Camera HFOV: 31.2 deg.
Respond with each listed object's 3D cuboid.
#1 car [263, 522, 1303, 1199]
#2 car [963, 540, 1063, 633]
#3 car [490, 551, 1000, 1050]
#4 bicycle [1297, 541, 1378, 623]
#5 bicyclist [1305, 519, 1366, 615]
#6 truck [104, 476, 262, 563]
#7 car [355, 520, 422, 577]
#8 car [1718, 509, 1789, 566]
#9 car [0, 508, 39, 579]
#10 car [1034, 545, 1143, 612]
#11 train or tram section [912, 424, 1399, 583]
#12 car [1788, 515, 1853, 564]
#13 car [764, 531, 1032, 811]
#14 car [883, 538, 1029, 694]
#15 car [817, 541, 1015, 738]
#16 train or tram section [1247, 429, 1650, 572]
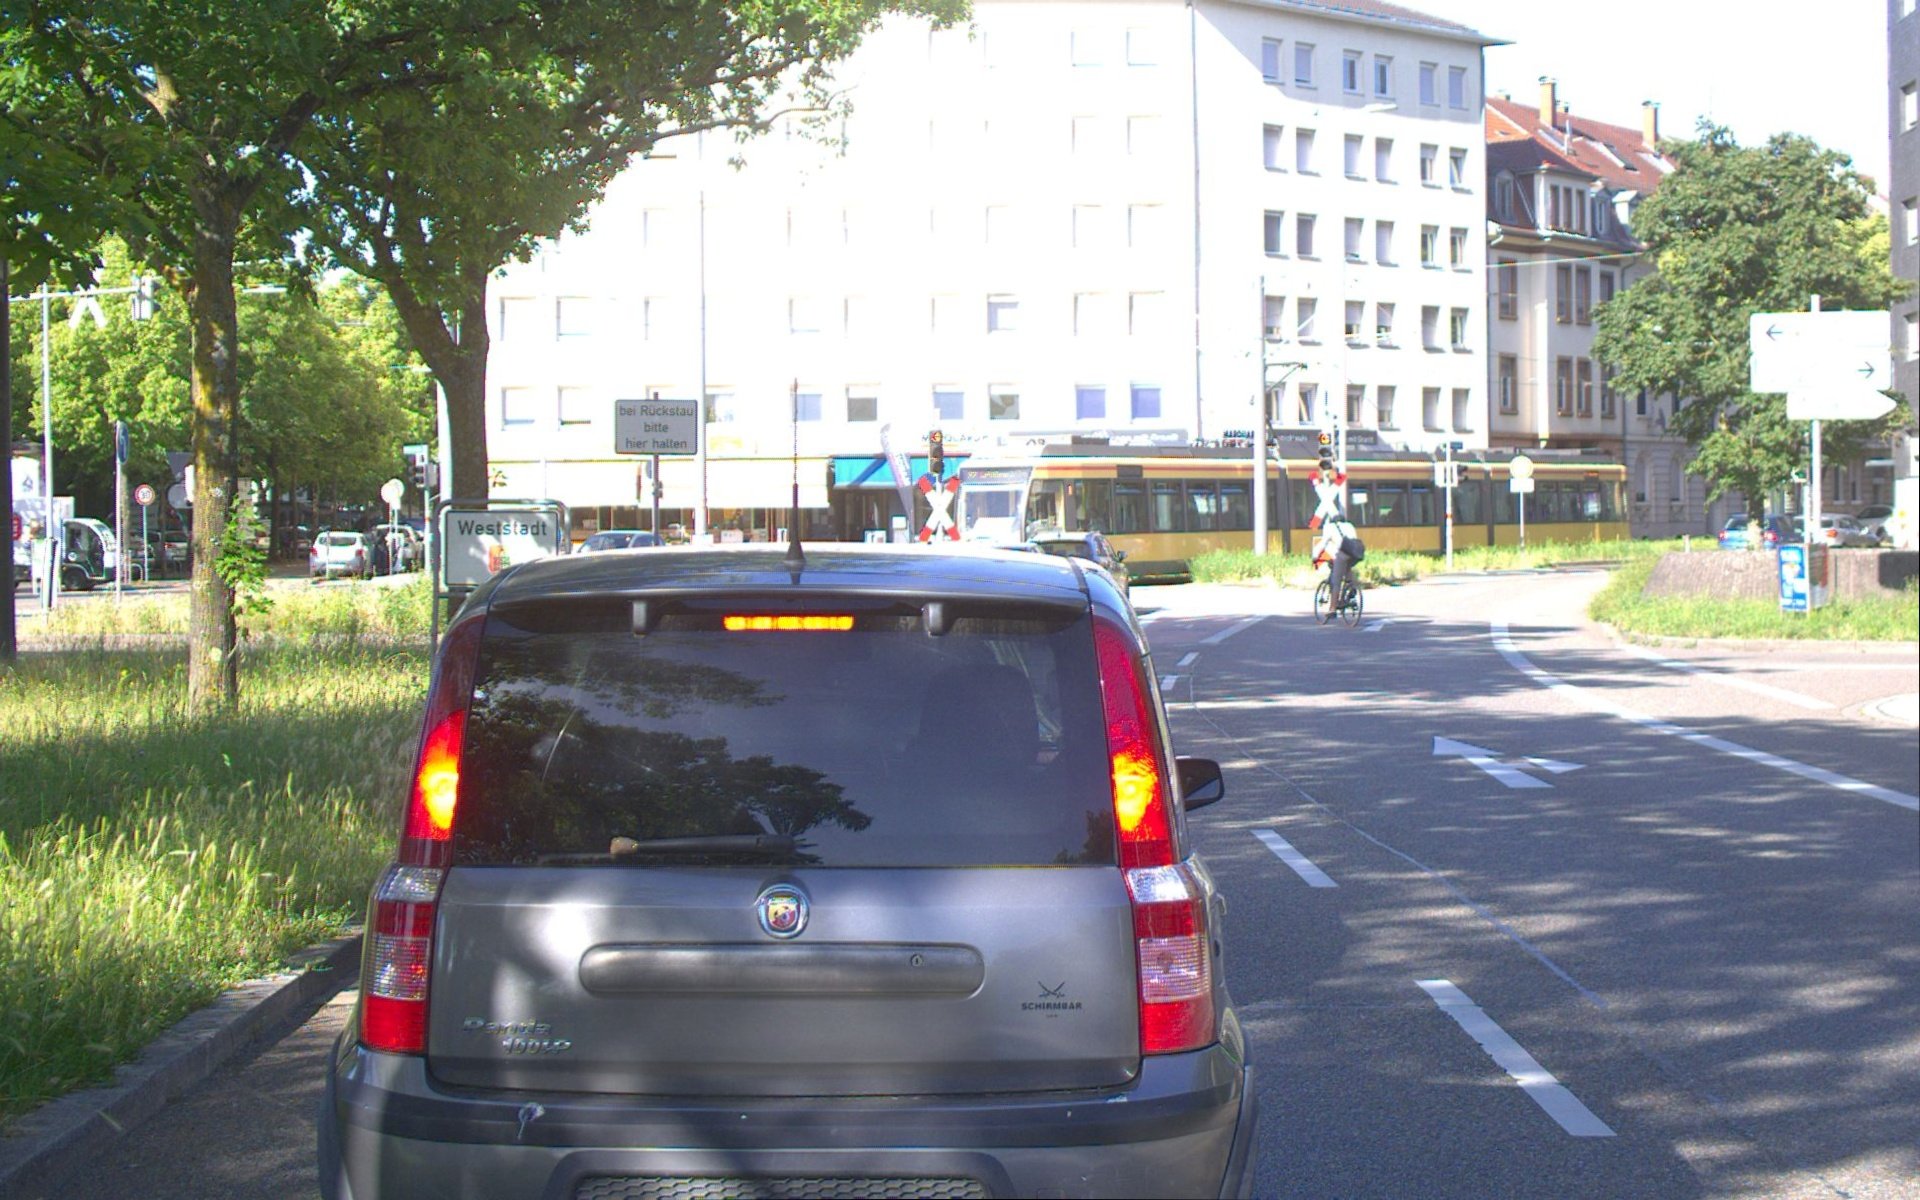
[{"bbox_3d":[-0.297,0.595,7.425,1.628,1.503,4.000,-1,1,-1],"label":"car"},{"bbox_3d":[0.749,-0.213,49.602,1.356,1.277,2.876,0,1,-1],"label":"car"},{"bbox_3d":[-0.640,0.557,11.646,1.463,1.396,3.393,0,1,-1],"label":"car"},{"bbox_3d":[5.707,-0.277,52.076,0.708,1.194,2.521,1,1,-5],"label":"bicycle"},{"bbox_3d":[5.681,-0.498,52.061,0.741,1.433,0.845,1,0,-5],"label":"bicyclist"},{"bbox_3d":[-28.884,-2.990,127.779,5.485,3.158,2.340,0,1,28],"label":"truck"},{"bbox_3d":[-20.518,-1.867,123.588,1.993,2.007,4.001,-1,1,-4],"label":"car"},{"bbox_3d":[20.879,-1.660,90.397,1.683,1.444,3.569,0,1,15],"label":"car"},{"bbox_3d":[-28.583,-1.597,97.974,4.176,2.007,1.932,-1,1,-2],"label":"car"},{"bbox_3d":[2.171,-0.371,57.676,1.143,1.060,2.719,0,1,17],"label":"car"},{"bbox_3d":[5.350,-2.382,84.738,3.301,3.501,19.351,0,2,31],"label":"train or tram section"},{"bbox_3d":[23.555,-1.664,94.025,1.528,1.310,3.285,0,1,18],"label":"car"},{"bbox_3d":[-0.358,0.354,20.686,1.463,1.503,3.505,0,2,-1],"label":"car"},{"bbox_3d":[-0.059,0.121,33.869,1.356,1.444,3.266,-1,1,-1],"label":"car"},{"bbox_3d":[-0.344,0.266,27.292,1.463,1.420,3.381,0,2,-1],"label":"car"},{"bbox_3d":[14.647,-2.885,99.881,3.302,3.757,20.772,0,2,32],"label":"train or tram section"}]
